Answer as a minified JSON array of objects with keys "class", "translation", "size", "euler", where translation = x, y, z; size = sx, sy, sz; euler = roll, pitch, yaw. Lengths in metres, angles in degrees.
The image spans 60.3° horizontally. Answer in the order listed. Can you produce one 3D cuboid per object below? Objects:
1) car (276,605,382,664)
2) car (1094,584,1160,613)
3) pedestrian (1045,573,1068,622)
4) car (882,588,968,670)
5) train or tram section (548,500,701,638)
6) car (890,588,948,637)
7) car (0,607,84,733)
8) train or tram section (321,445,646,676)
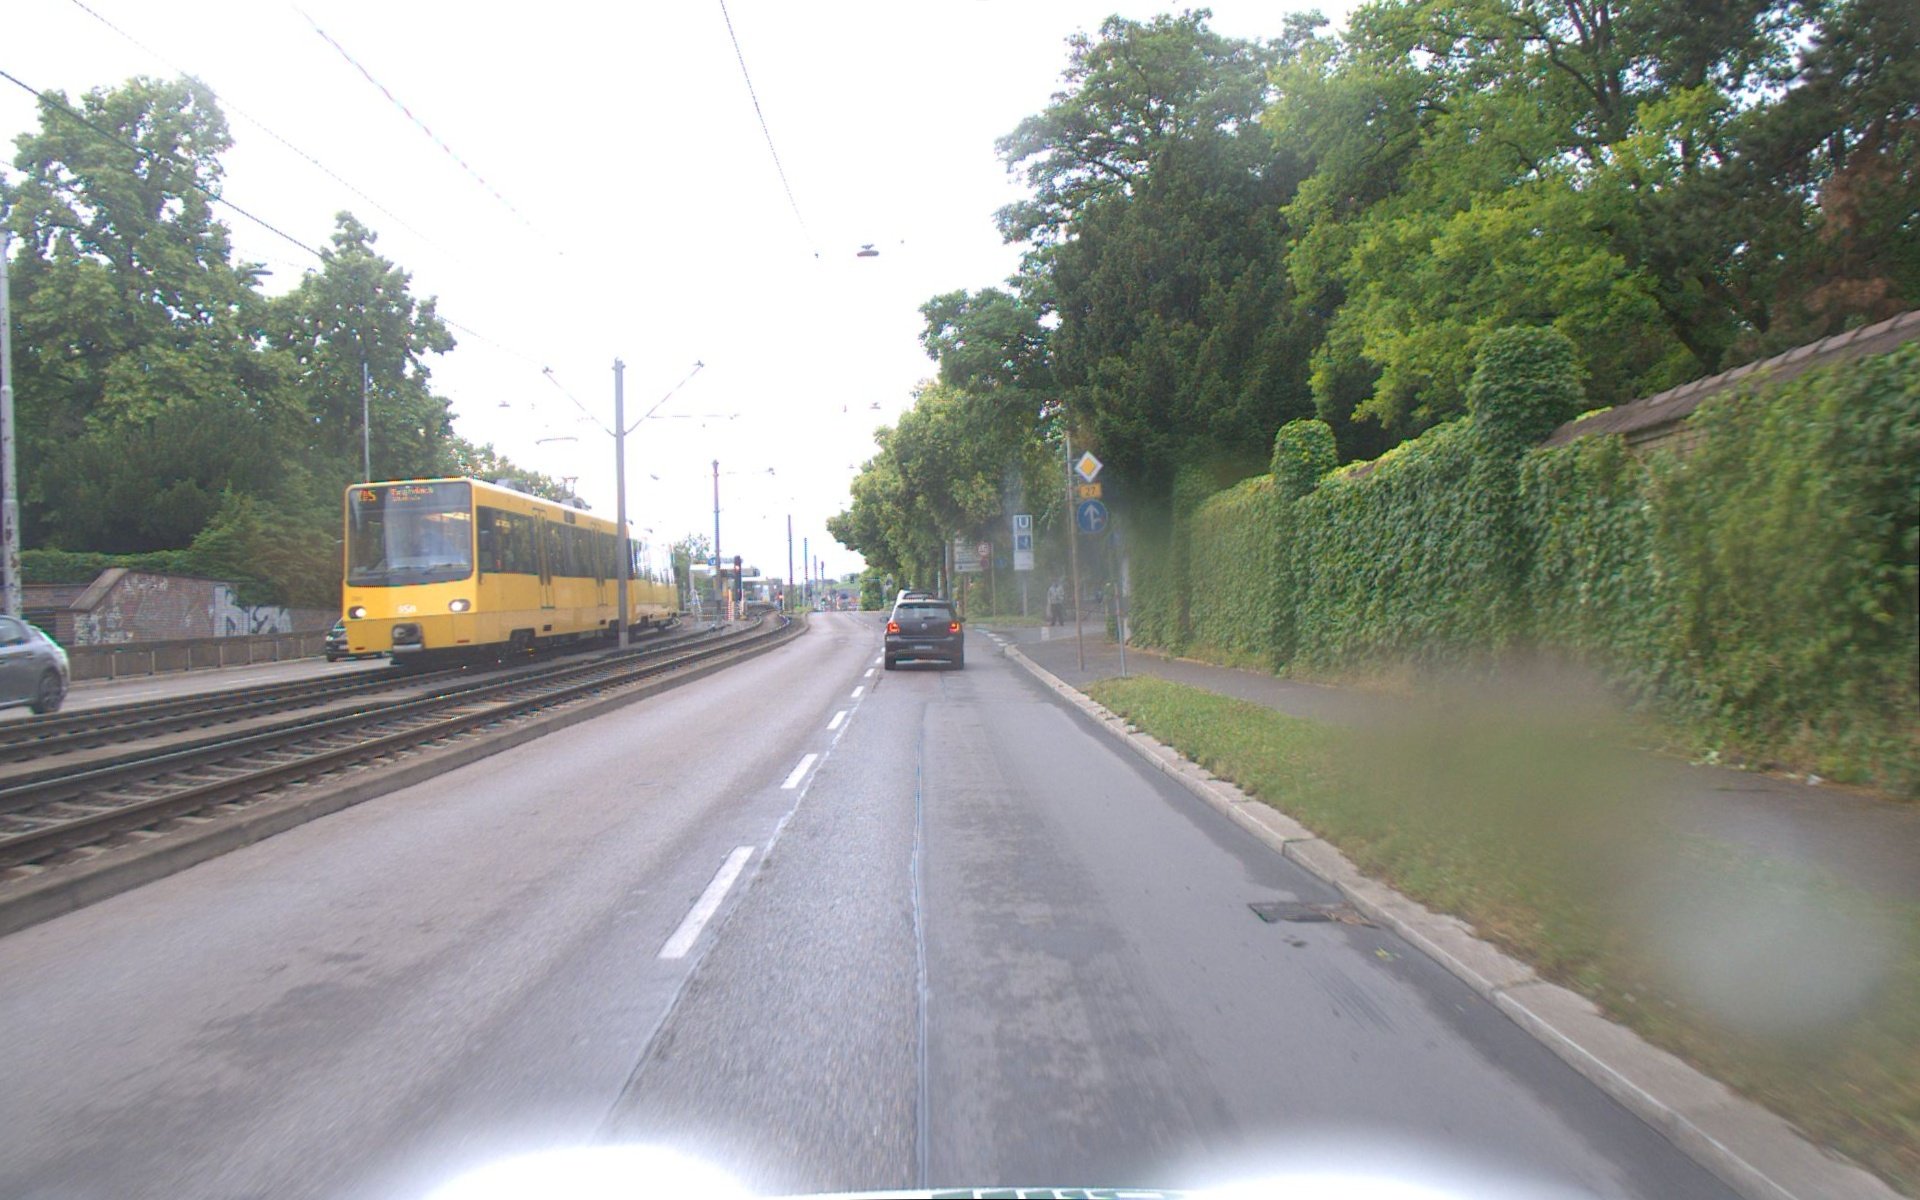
[{"class":"car","translation":[-17.788,0.930,46.782],"size":[1.654,1.493,3.915],"euler":[-2,1,-4]},{"class":"car","translation":[11.585,-0.115,114.839],"size":[4.394,1.866,1.932],"euler":[1,1,45]},{"class":"pedestrian","translation":[3.772,-0.101,64.793],"size":[0.837,1.886,0.737],"euler":[-1,0,-2]},{"class":"car","translation":[-0.733,0.569,35.121],"size":[1.692,1.567,3.999],"euler":[-2,1,-1]},{"class":"train or tram section","translation":[-11.364,-1.008,58.059],"size":[2.772,4.045,17.863],"euler":[-2,1,-4]},{"class":"car","translation":[-1.404,0.384,55.010],"size":[1.654,1.544,3.996],"euler":[-2,1,-5]},{"class":"car","translation":[-13.081,0.931,20.962],"size":[1.751,1.559,4.501],"euler":[-2,1,-4]},{"class":"train or tram section","translation":[-10.369,-0.807,39.413],"size":[2.772,4.045,20.018],"euler":[-2,1,-3]}]
